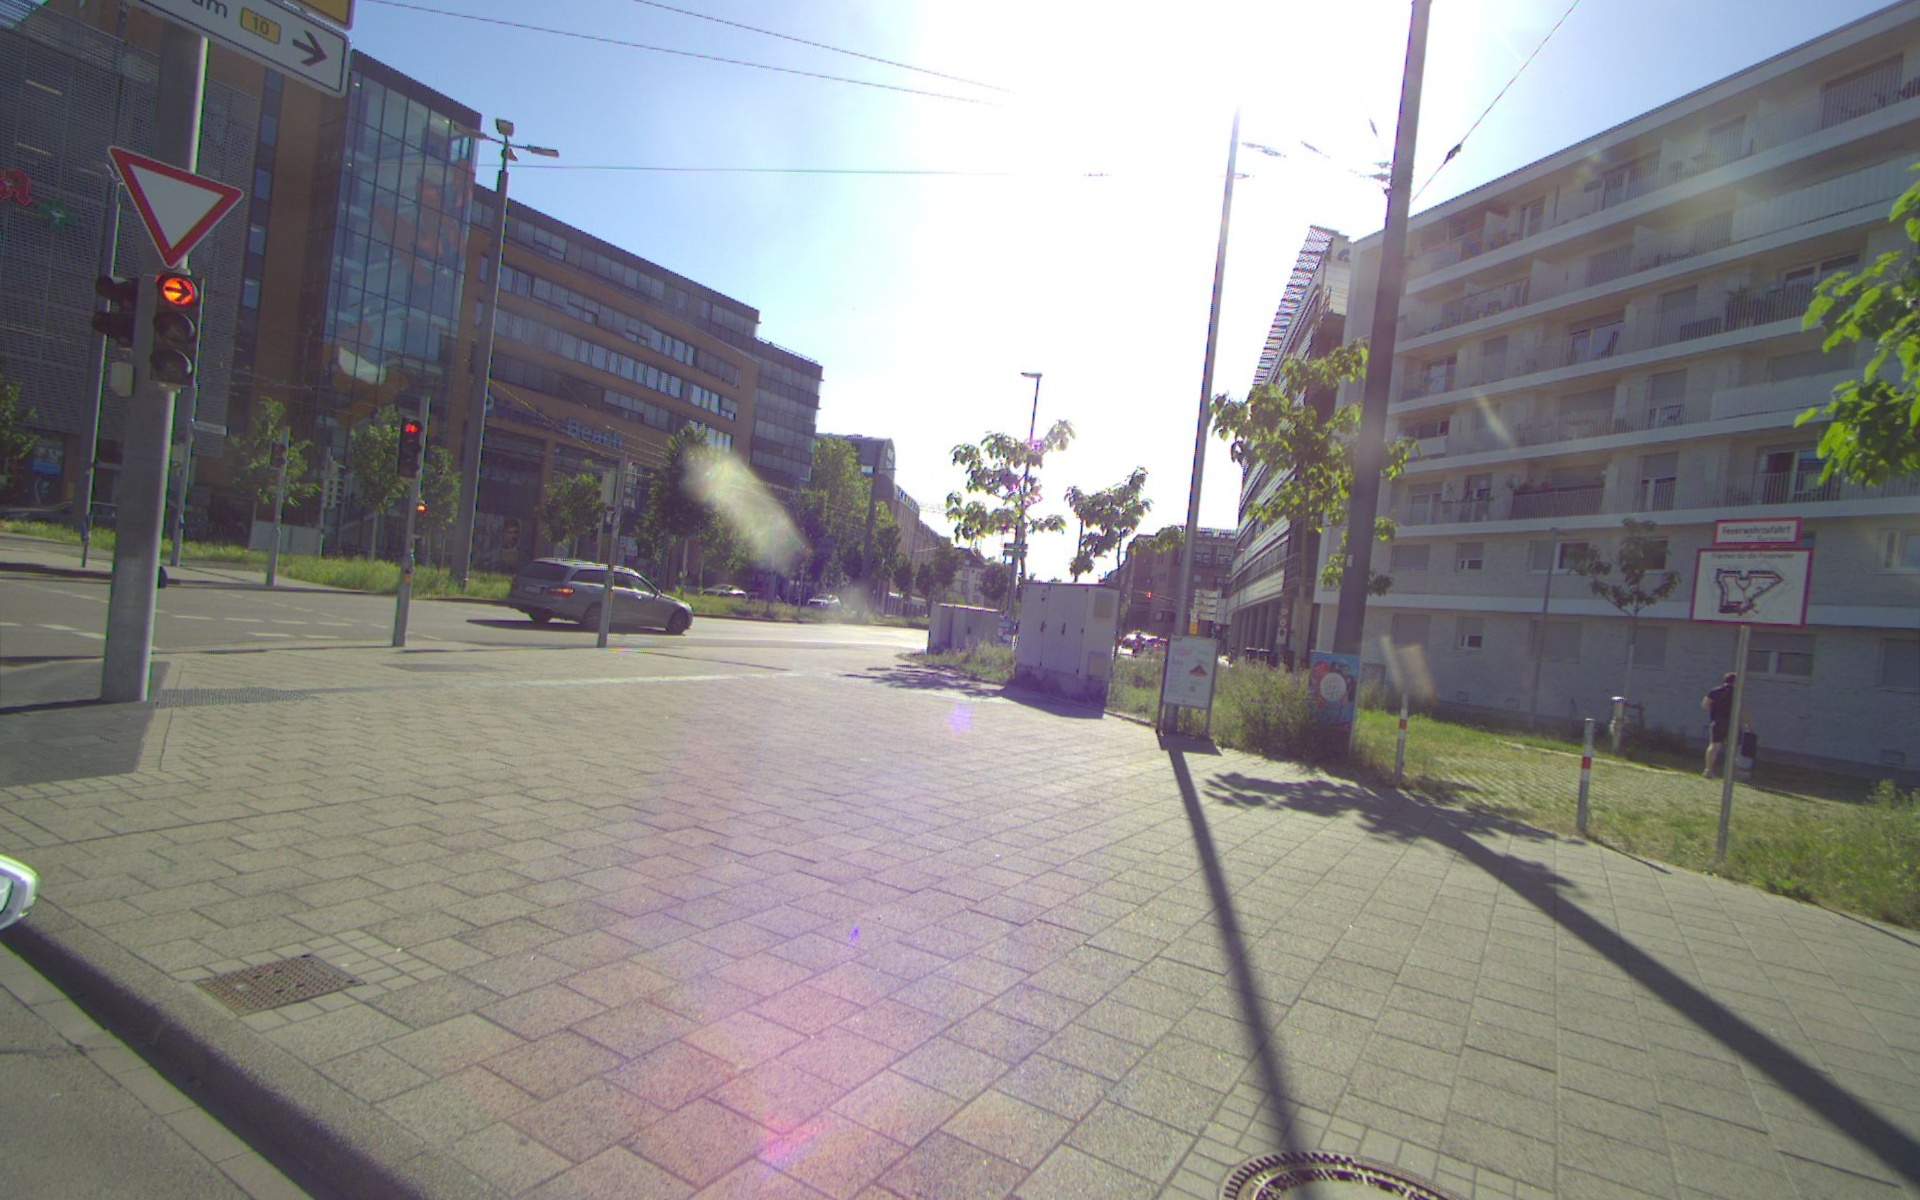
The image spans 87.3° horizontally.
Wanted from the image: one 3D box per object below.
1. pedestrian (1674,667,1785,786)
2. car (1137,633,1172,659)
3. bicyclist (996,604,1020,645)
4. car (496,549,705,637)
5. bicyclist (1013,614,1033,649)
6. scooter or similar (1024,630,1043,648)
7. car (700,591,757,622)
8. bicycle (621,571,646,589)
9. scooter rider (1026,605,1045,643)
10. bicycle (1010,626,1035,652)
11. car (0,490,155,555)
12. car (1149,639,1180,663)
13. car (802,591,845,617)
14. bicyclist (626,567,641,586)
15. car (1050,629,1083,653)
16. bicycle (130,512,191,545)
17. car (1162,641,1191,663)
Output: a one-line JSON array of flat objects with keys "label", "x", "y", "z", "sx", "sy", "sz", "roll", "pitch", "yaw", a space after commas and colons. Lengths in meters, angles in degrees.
[{"label": "pedestrian", "x": 12.319, "y": 2.009, "z": 16.123, "sx": 0.970, "sy": 1.719, "sz": 0.842, "roll": 6, "pitch": 2, "yaw": -16}, {"label": "car", "x": 13.813, "y": 3.288, "z": 71.384, "sx": 1.677, "sy": 1.515, "sz": 4.281, "roll": 7, "pitch": -2, "yaw": 19}, {"label": "bicyclist", "x": 2.151, "y": 1.093, "z": 44.941, "sx": 0.563, "sy": 1.727, "sz": 0.885, "roll": 7, "pitch": -1, "yaw": 25}, {"label": "car", "x": -8.374, "y": -0.082, "z": 23.960, "sx": 1.676, "sy": 1.591, "sz": 4.870, "roll": 7, "pitch": -1, "yaw": 24}, {"label": "bicyclist", "x": 3.058, "y": 1.527, "z": 48.821, "sx": 0.563, "sy": 1.585, "sz": 0.886, "roll": 7, "pitch": -1, "yaw": 22}, {"label": "scooter or similar", "x": 3.814, "y": 2.037, "z": 52.137, "sx": 0.603, "sy": 0.795, "sz": 1.213, "roll": 7, "pitch": -2, "yaw": 22}, {"label": "car", "x": -17.283, "y": 0.496, "z": 75.371, "sx": 1.807, "sy": 1.600, "sz": 4.310, "roll": 6, "pitch": -5, "yaw": 23}, {"label": "bicycle", "x": -26.060, "y": -1.606, "z": 80.273, "sx": 0.559, "sy": 1.232, "sz": 1.859, "roll": 9, "pitch": 1, "yaw": 31}, {"label": "scooter rider", "x": 3.936, "y": 1.242, "z": 52.175, "sx": 0.563, "sy": 1.894, "sz": 0.787, "roll": 7, "pitch": -1, "yaw": 22}, {"label": "bicycle", "x": 3.052, "y": 1.913, "z": 48.898, "sx": 0.576, "sy": 1.150, "sz": 1.761, "roll": 7, "pitch": -2, "yaw": 22}, {"label": "car", "x": -32.069, "y": -2.767, "z": 36.328, "sx": 1.810, "sy": 1.484, "sz": 4.161, "roll": 6, "pitch": -5, "yaw": 30}, {"label": "car", "x": 15.701, "y": 3.934, "z": 77.097, "sx": 1.677, "sy": 1.515, "sz": 4.281, "roll": 7, "pitch": -2, "yaw": 19}, {"label": "car", "x": -12.554, "y": 0.405, "z": 92.675, "sx": 1.807, "sy": 1.885, "sz": 4.340, "roll": 6, "pitch": -1, "yaw": 24}, {"label": "bicyclist", "x": -26.039, "y": -1.867, "z": 80.213, "sx": 0.556, "sy": 1.404, "sz": 0.754, "roll": 9, "pitch": 2, "yaw": 31}, {"label": "car", "x": 8.718, "y": 3.389, "z": 82.045, "sx": 1.616, "sy": 1.665, "sz": 4.200, "roll": 7, "pitch": -1, "yaw": 20}, {"label": "bicycle", "x": -40.518, "y": -3.609, "z": 51.034, "sx": 0.595, "sy": 1.310, "sz": 2.260, "roll": 7, "pitch": -2, "yaw": 30}, {"label": "car", "x": 17.918, "y": 4.314, "z": 83.265, "sx": 1.677, "sy": 1.515, "sz": 4.281, "roll": 7, "pitch": -2, "yaw": 19}]
